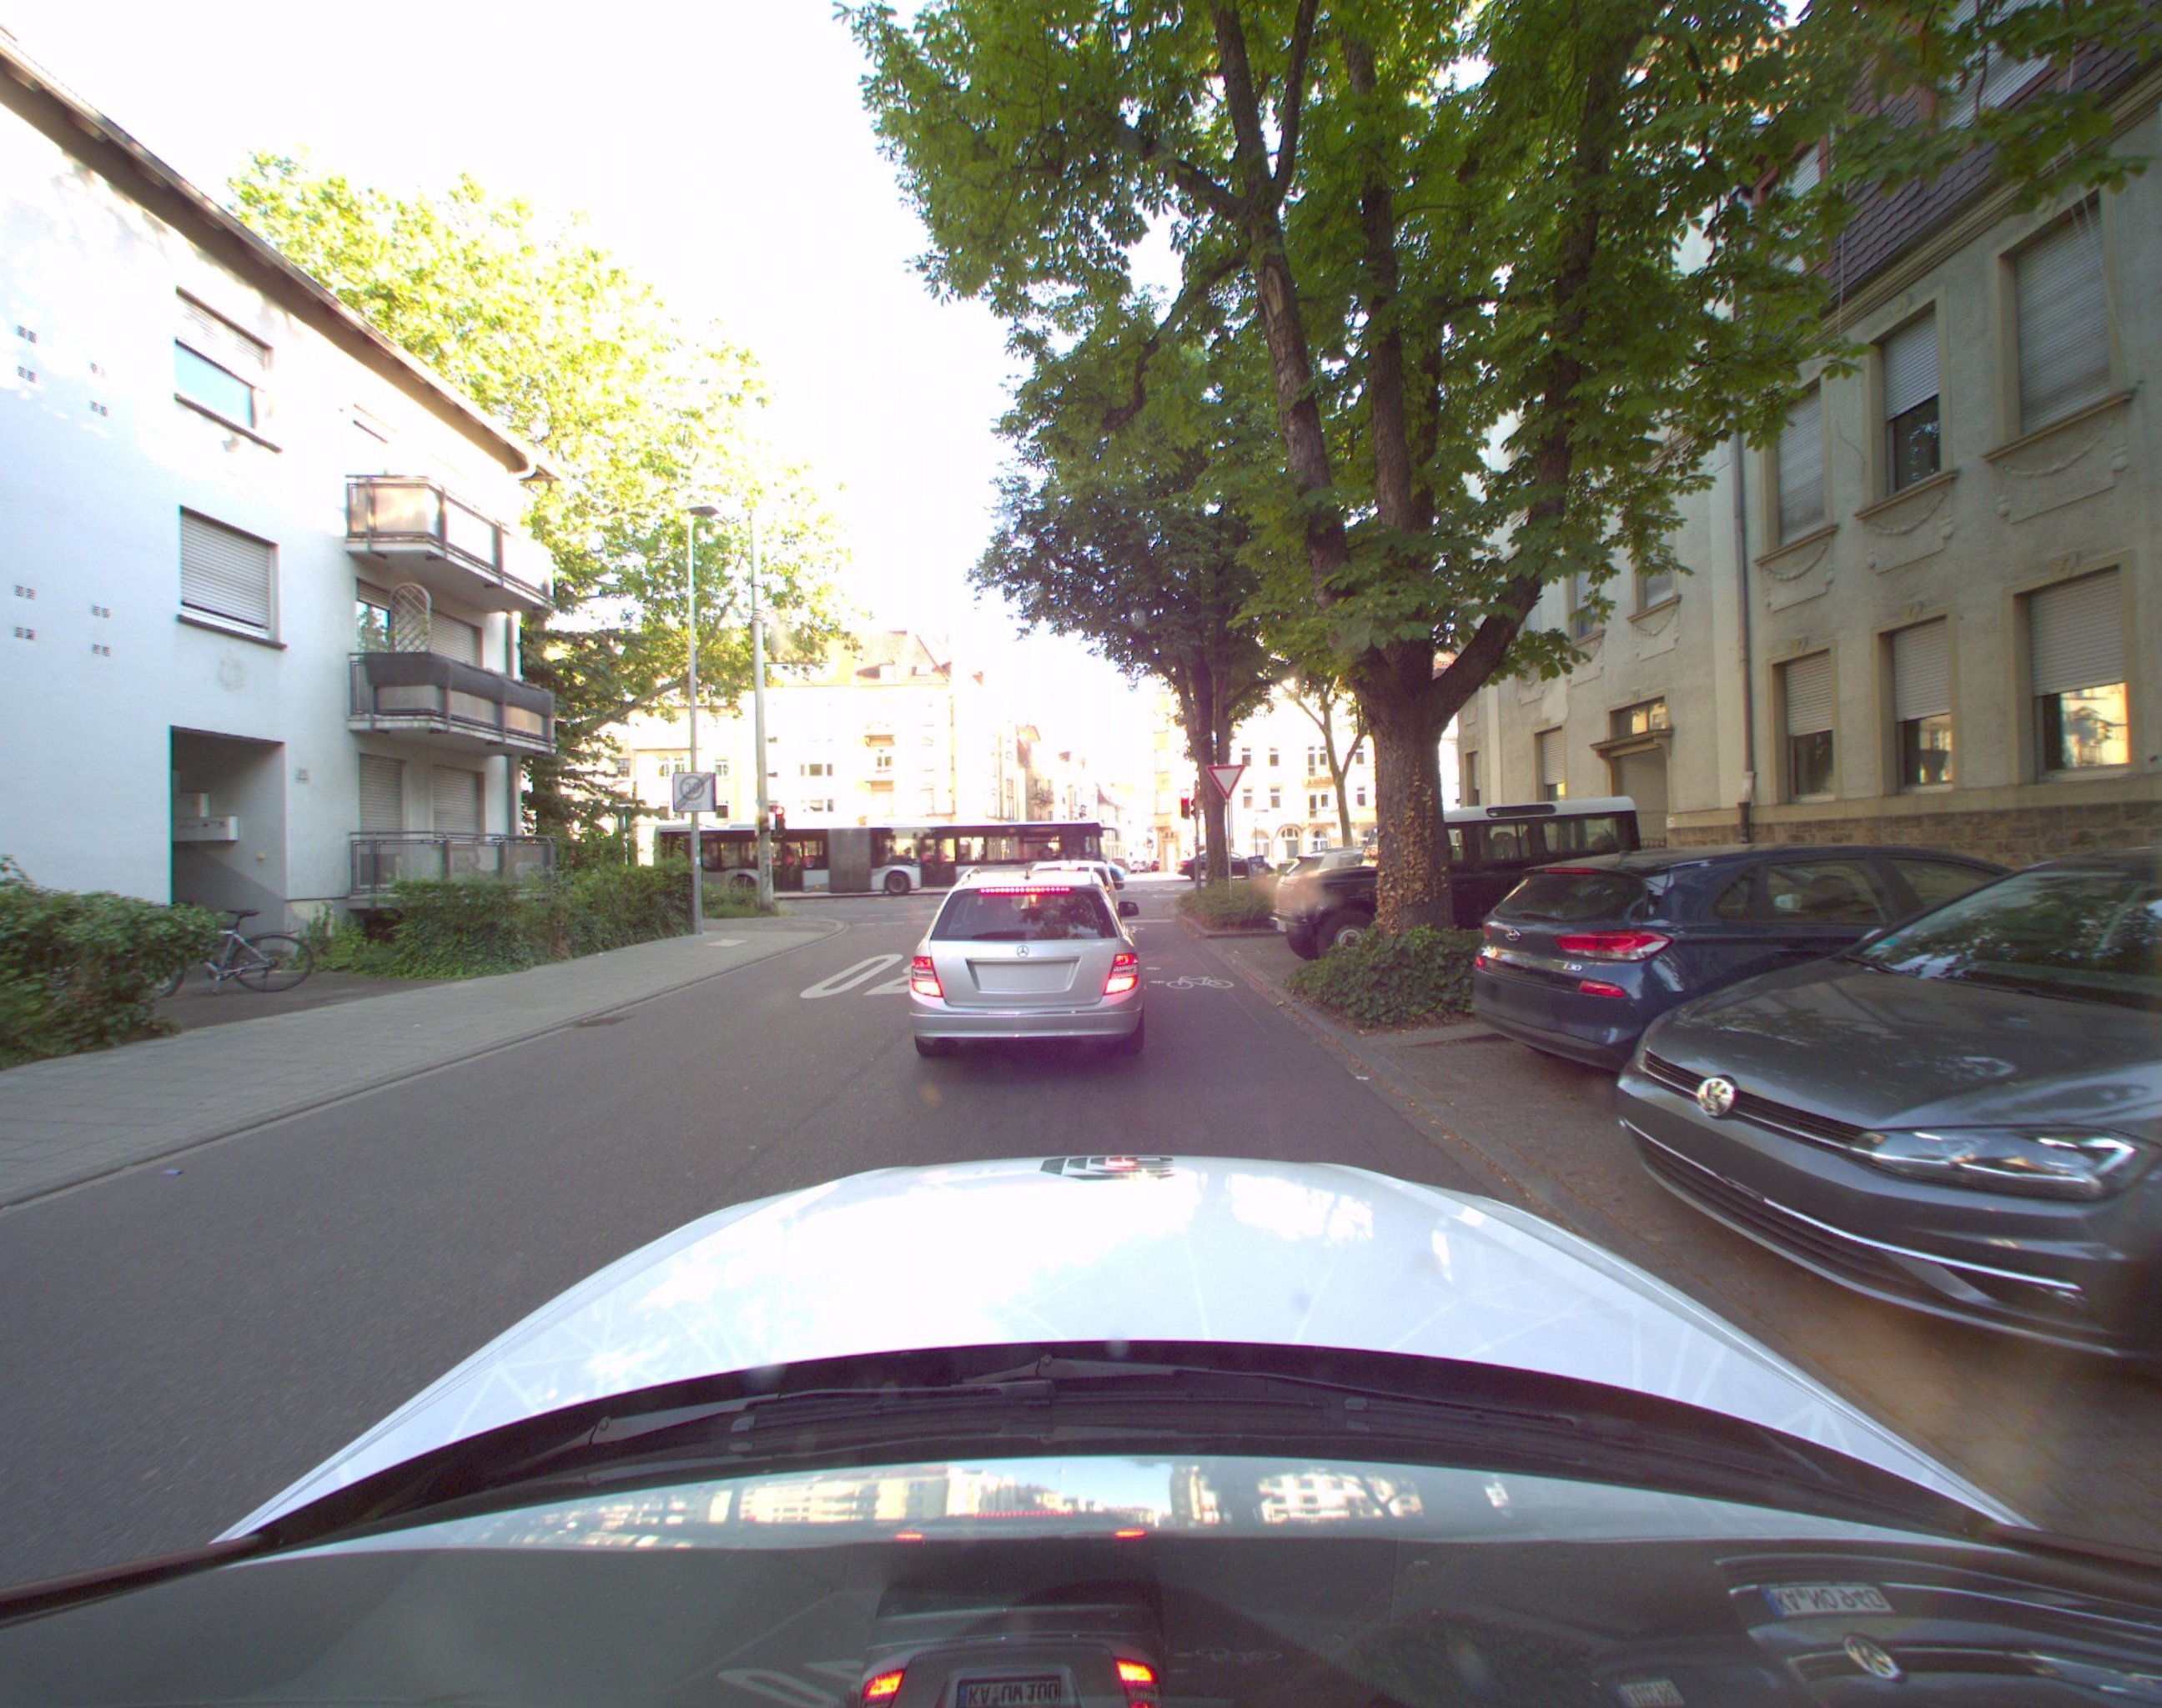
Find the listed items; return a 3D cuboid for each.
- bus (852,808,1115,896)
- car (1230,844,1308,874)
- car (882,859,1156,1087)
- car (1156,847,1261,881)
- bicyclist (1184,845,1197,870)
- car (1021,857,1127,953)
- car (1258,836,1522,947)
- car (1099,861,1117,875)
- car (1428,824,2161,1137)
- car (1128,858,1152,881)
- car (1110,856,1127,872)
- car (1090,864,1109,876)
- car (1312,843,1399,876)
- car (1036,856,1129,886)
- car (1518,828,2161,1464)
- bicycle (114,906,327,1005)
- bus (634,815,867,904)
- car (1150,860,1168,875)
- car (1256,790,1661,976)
[{"bbox_3d":[-3.971,-0.110,34.220,10.440,3.201,2.905,-2,0,-7],"label":"bus"},{"bbox_3d":[9.910,0.245,43.057,3.682,1.449,1.512,-2,0,-7],"label":"car"},{"bbox_3d":[-0.393,0.790,7.610,1.771,1.452,4.547,-1,0,0],"label":"car"},{"bbox_3d":[6.062,0.455,38.972,4.684,1.428,1.715,-2,0,-7],"label":"car"},{"bbox_3d":[8.228,0.232,61.209,0.889,1.859,0.636,-1,0,-3],"label":"bicyclist"},{"bbox_3d":[-0.103,0.793,14.698,1.614,1.447,4.344,-1,0,0],"label":"car"},{"bbox_3d":[5.036,0.591,13.618,3.714,1.570,1.707,-3,-1,-2],"label":"car"},{"bbox_3d":[3.666,1.870,109.371,1.824,1.663,4.012,-1,0,10],"label":"car"},{"bbox_3d":[4.408,0.640,5.084,3.714,1.452,1.707,-3,-1,-2],"label":"car"},{"bbox_3d":[6.276,1.656,86.434,2.018,2.279,4.012,-1,0,10],"label":"car"},{"bbox_3d":[5.450,1.409,118.030,1.776,2.204,4.012,-1,0,10],"label":"car"},{"bbox_3d":[2.357,2.029,103.165,1.824,1.402,4.012,-1,0,10],"label":"car"},{"bbox_3d":[13.302,0.247,39.551,3.682,1.449,1.512,-2,0,-7],"label":"car"},{"bbox_3d":[0.043,0.763,38.163,4.192,1.236,1.715,-2,0,-7],"label":"car"},{"bbox_3d":[4.044,0.645,2.894,4.042,1.452,1.722,-3,-1,-2],"label":"car"},{"bbox_3d":[-9.993,1.147,9.545,1.630,1.008,0.511,2,-1,-39],"label":"bicycle"},{"bbox_3d":[-13.161,0.187,33.110,8.166,3.201,2.905,-2,0,-7],"label":"bus"},{"bbox_3d":[9.838,1.714,102.392,1.824,1.744,4.012,-1,0,10],"label":"car"},{"bbox_3d":[4.748,0.347,10.658,4.453,2.036,1.700,-3,-1,-2],"label":"car"}]
